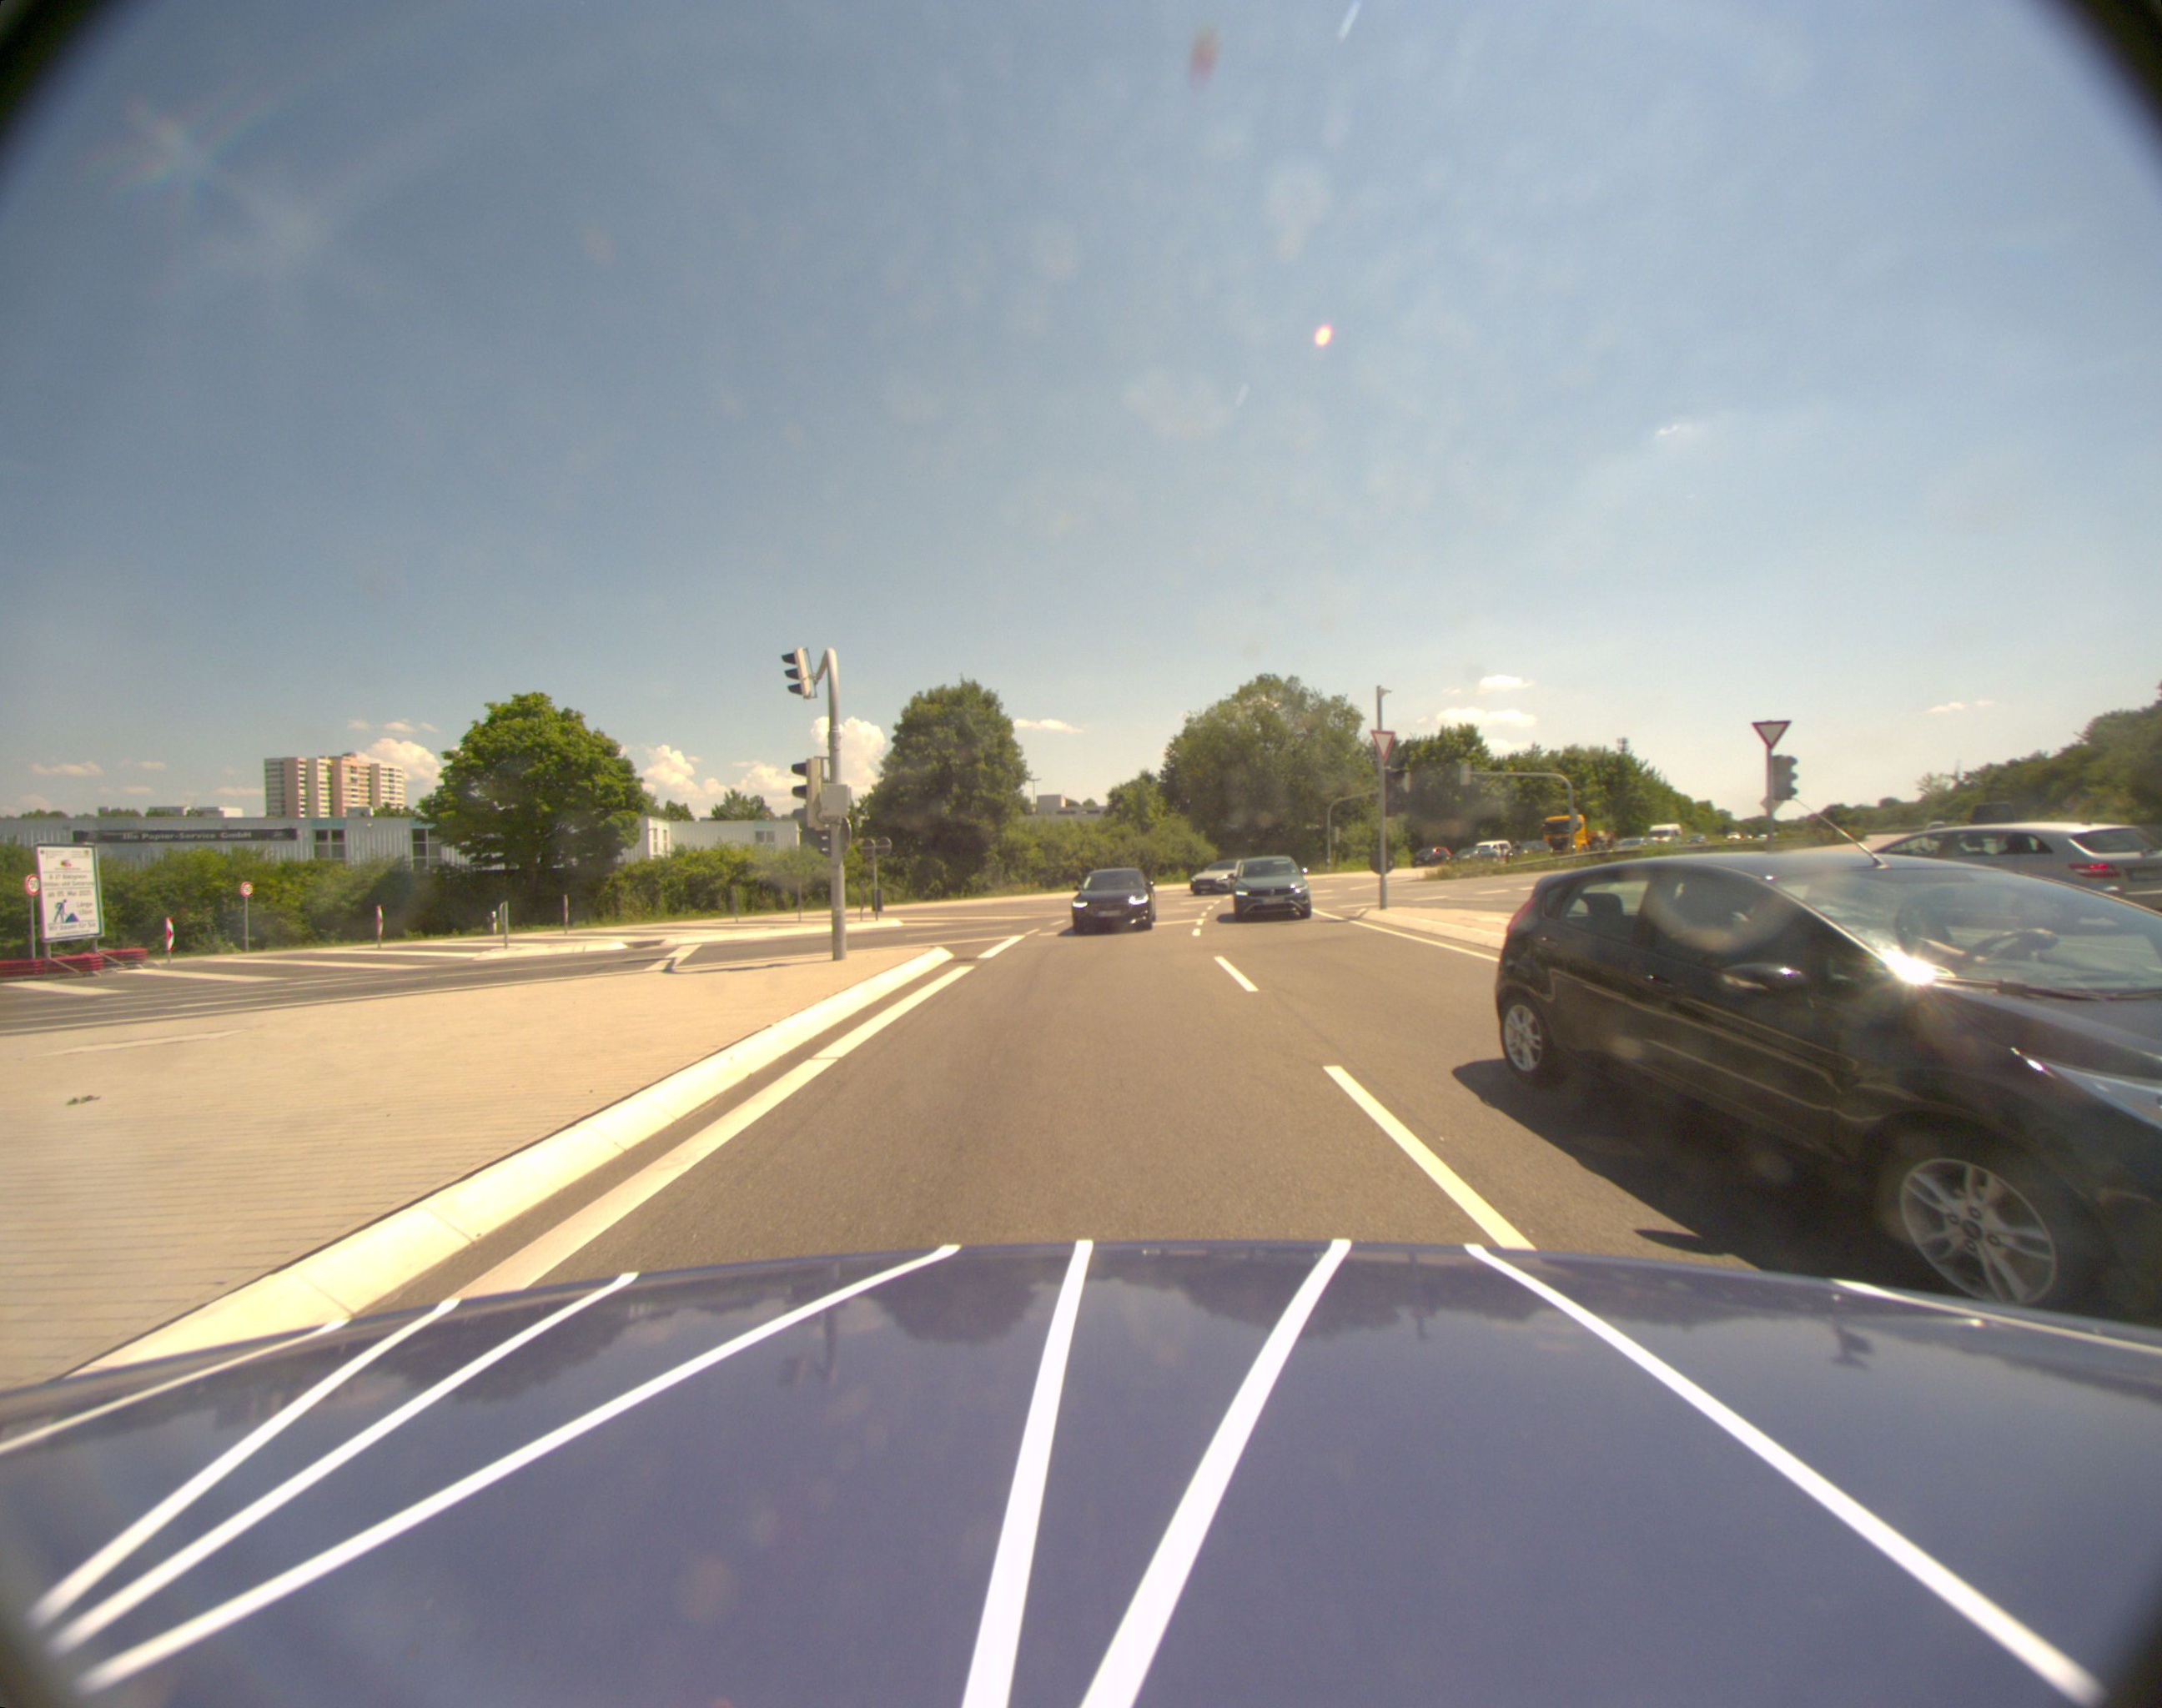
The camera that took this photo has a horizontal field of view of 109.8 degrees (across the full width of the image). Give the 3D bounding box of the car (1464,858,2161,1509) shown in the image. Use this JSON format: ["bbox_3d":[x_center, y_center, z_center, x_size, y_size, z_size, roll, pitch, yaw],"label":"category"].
[{"bbox_3d":[3.504,0.819,3.311,1.657,1.485,4.207,-1,1,2],"label":"car"}]

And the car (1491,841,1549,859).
[{"bbox_3d":[33.603,-0.338,58.181,4.005,1.182,1.996,-3,1,-27],"label":"car"}]

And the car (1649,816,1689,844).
[{"bbox_3d":[59.996,-2.464,77.516,5.490,2.592,2.163,-3,1,-41],"label":"car"}]

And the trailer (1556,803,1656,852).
[{"bbox_3d":[47.169,-2.422,67.975,13.194,4.039,3.065,-3,1,-36],"label":"trailer"}]

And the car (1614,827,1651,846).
[{"bbox_3d":[54.192,-1.733,74.636,3.939,1.679,2.163,-3,1,-41],"label":"car"}]

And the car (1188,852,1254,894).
[{"bbox_3d":[6.279,0.808,33.664,1.931,1.577,4.185,-2,1,23],"label":"car"}]

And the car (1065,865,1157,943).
[{"bbox_3d":[0.805,1.062,17.778,1.779,1.497,4.563,-3,-1,5],"label":"car"}]

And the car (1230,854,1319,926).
[{"bbox_3d":[4.818,0.847,19.455,1.838,1.577,4.395,-3,-1,10],"label":"car"}]

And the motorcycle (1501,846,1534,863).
[{"bbox_3d":[30.283,0.028,52.711,2.074,1.132,0.733,1,1,-18],"label":"motorcycle"}]

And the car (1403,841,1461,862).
[{"bbox_3d":[27.246,-0.160,58.908,4.005,1.444,1.996,-2,1,-27],"label":"car"}]

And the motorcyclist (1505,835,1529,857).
[{"bbox_3d":[30.256,-0.549,52.703,1.162,1.480,0.859,0,2,-17],"label":"motorcyclist"}]

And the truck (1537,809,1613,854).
[{"bbox_3d":[41.691,-1.931,64.054,6.868,3.517,2.978,-3,1,-35],"label":"truck"}]

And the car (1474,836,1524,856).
[{"bbox_3d":[35.203,-0.665,63.981,4.005,1.445,1.778,-3,1,-27],"label":"car"}]

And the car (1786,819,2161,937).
[{"bbox_3d":[14.899,0.314,12.836,1.613,1.590,4.351,-3,1,-6],"label":"car"}]
